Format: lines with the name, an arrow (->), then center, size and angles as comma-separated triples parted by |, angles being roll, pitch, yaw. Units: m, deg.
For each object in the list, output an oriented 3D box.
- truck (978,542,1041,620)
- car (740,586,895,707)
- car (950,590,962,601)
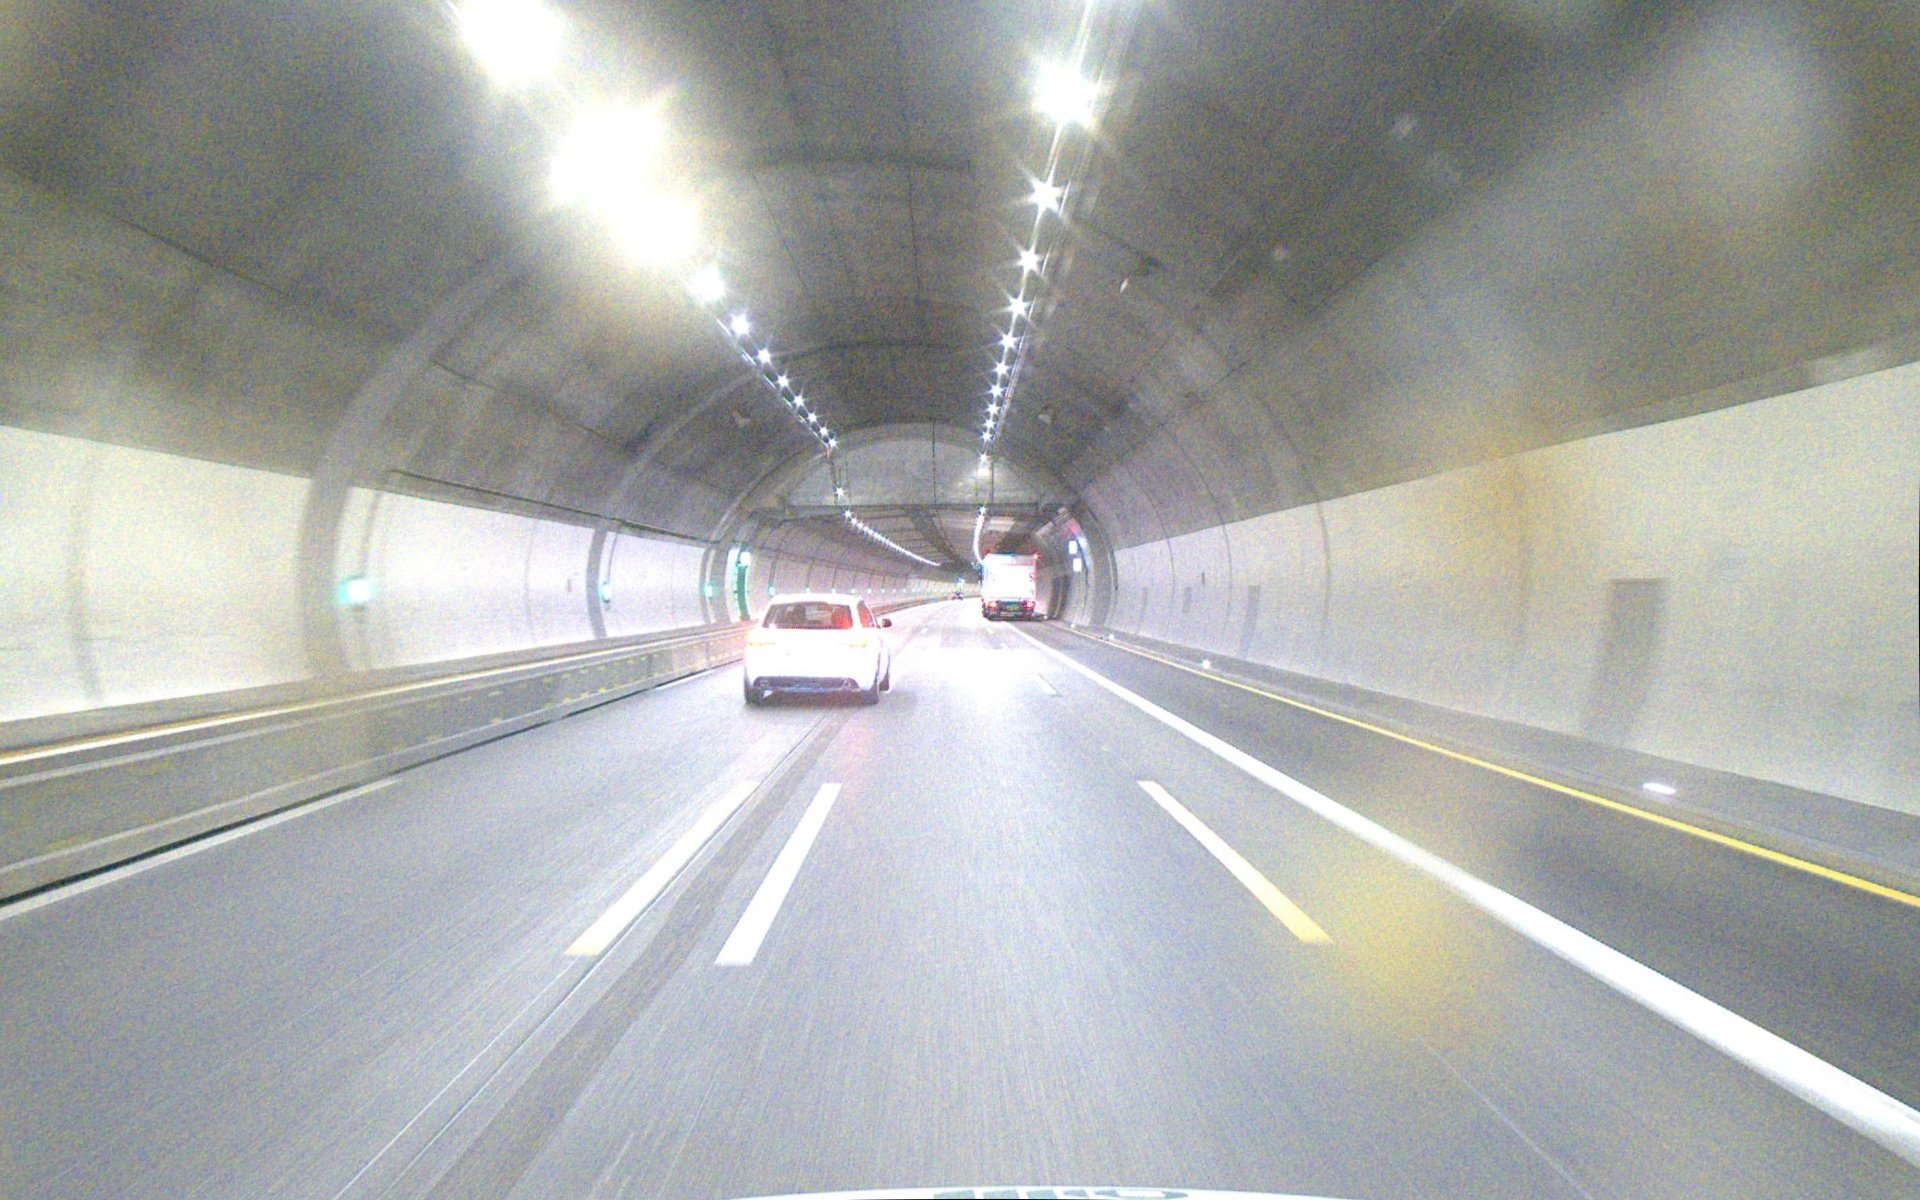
truck -> 2.616, -0.939, 90.531 | 3.029, 3.986, 10.366 | -1, 0, 0
car -> -1.914, 0.594, 23.574 | 1.865, 1.511, 4.942 | 1, 0, -1
car -> -0.563, -0.647, 246.835 | 1.723, 1.486, 4.118 | -1, 1, 0
